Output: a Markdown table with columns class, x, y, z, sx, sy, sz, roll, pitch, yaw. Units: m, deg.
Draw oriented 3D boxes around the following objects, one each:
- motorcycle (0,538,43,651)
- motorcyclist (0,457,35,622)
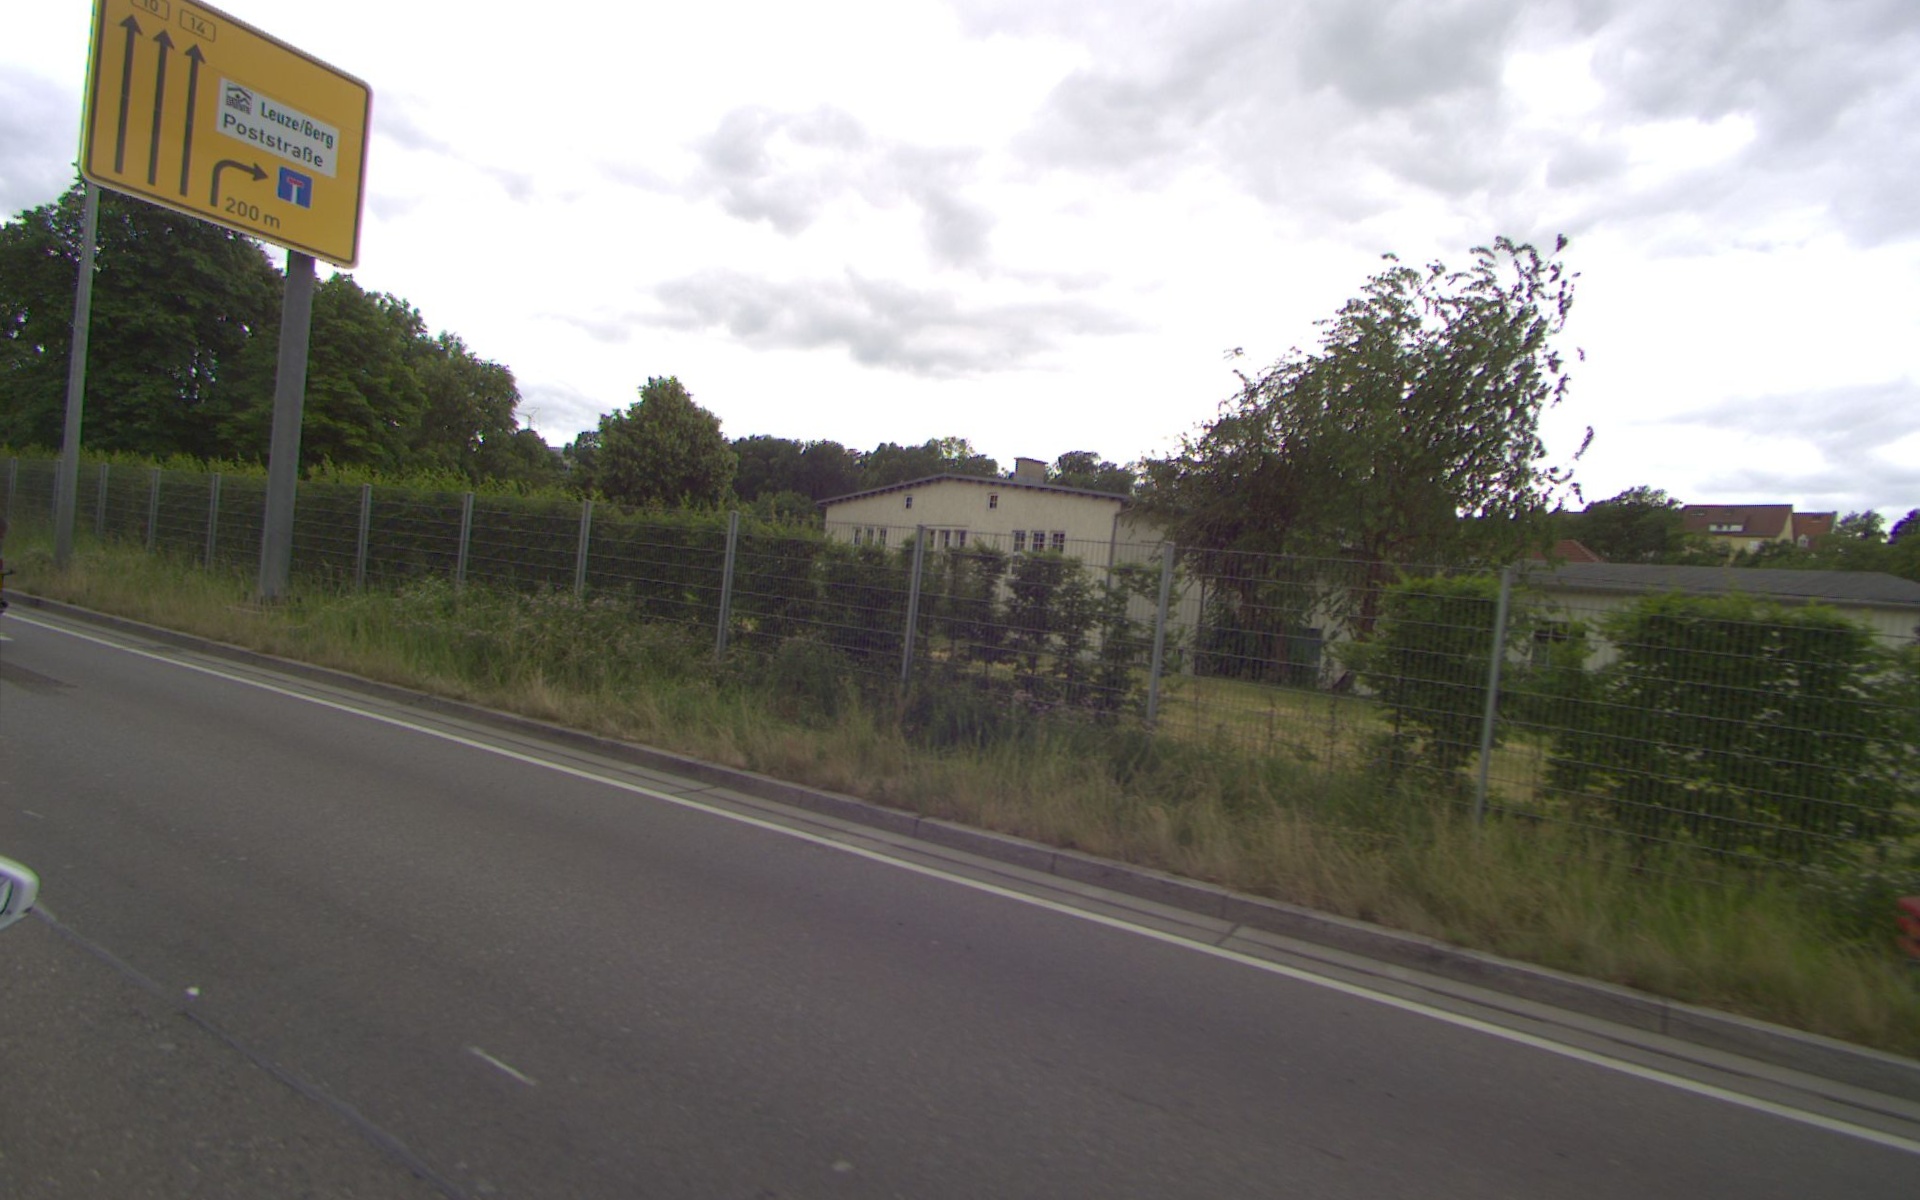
| class | x | y | z | sx | sy | sz | roll | pitch | yaw |
| --- | --- | --- | --- | --- | --- | --- | --- | --- | --- |
| motorcycle | -10.164 | -0.149 | 10.174 | 1.993 | 1.052 | 0.708 | 6 | -2 | 32 |
| motorcyclist | -10.019 | -0.661 | 10.132 | 0.831 | 1.629 | 0.686 | 6 | -1 | 32 |
